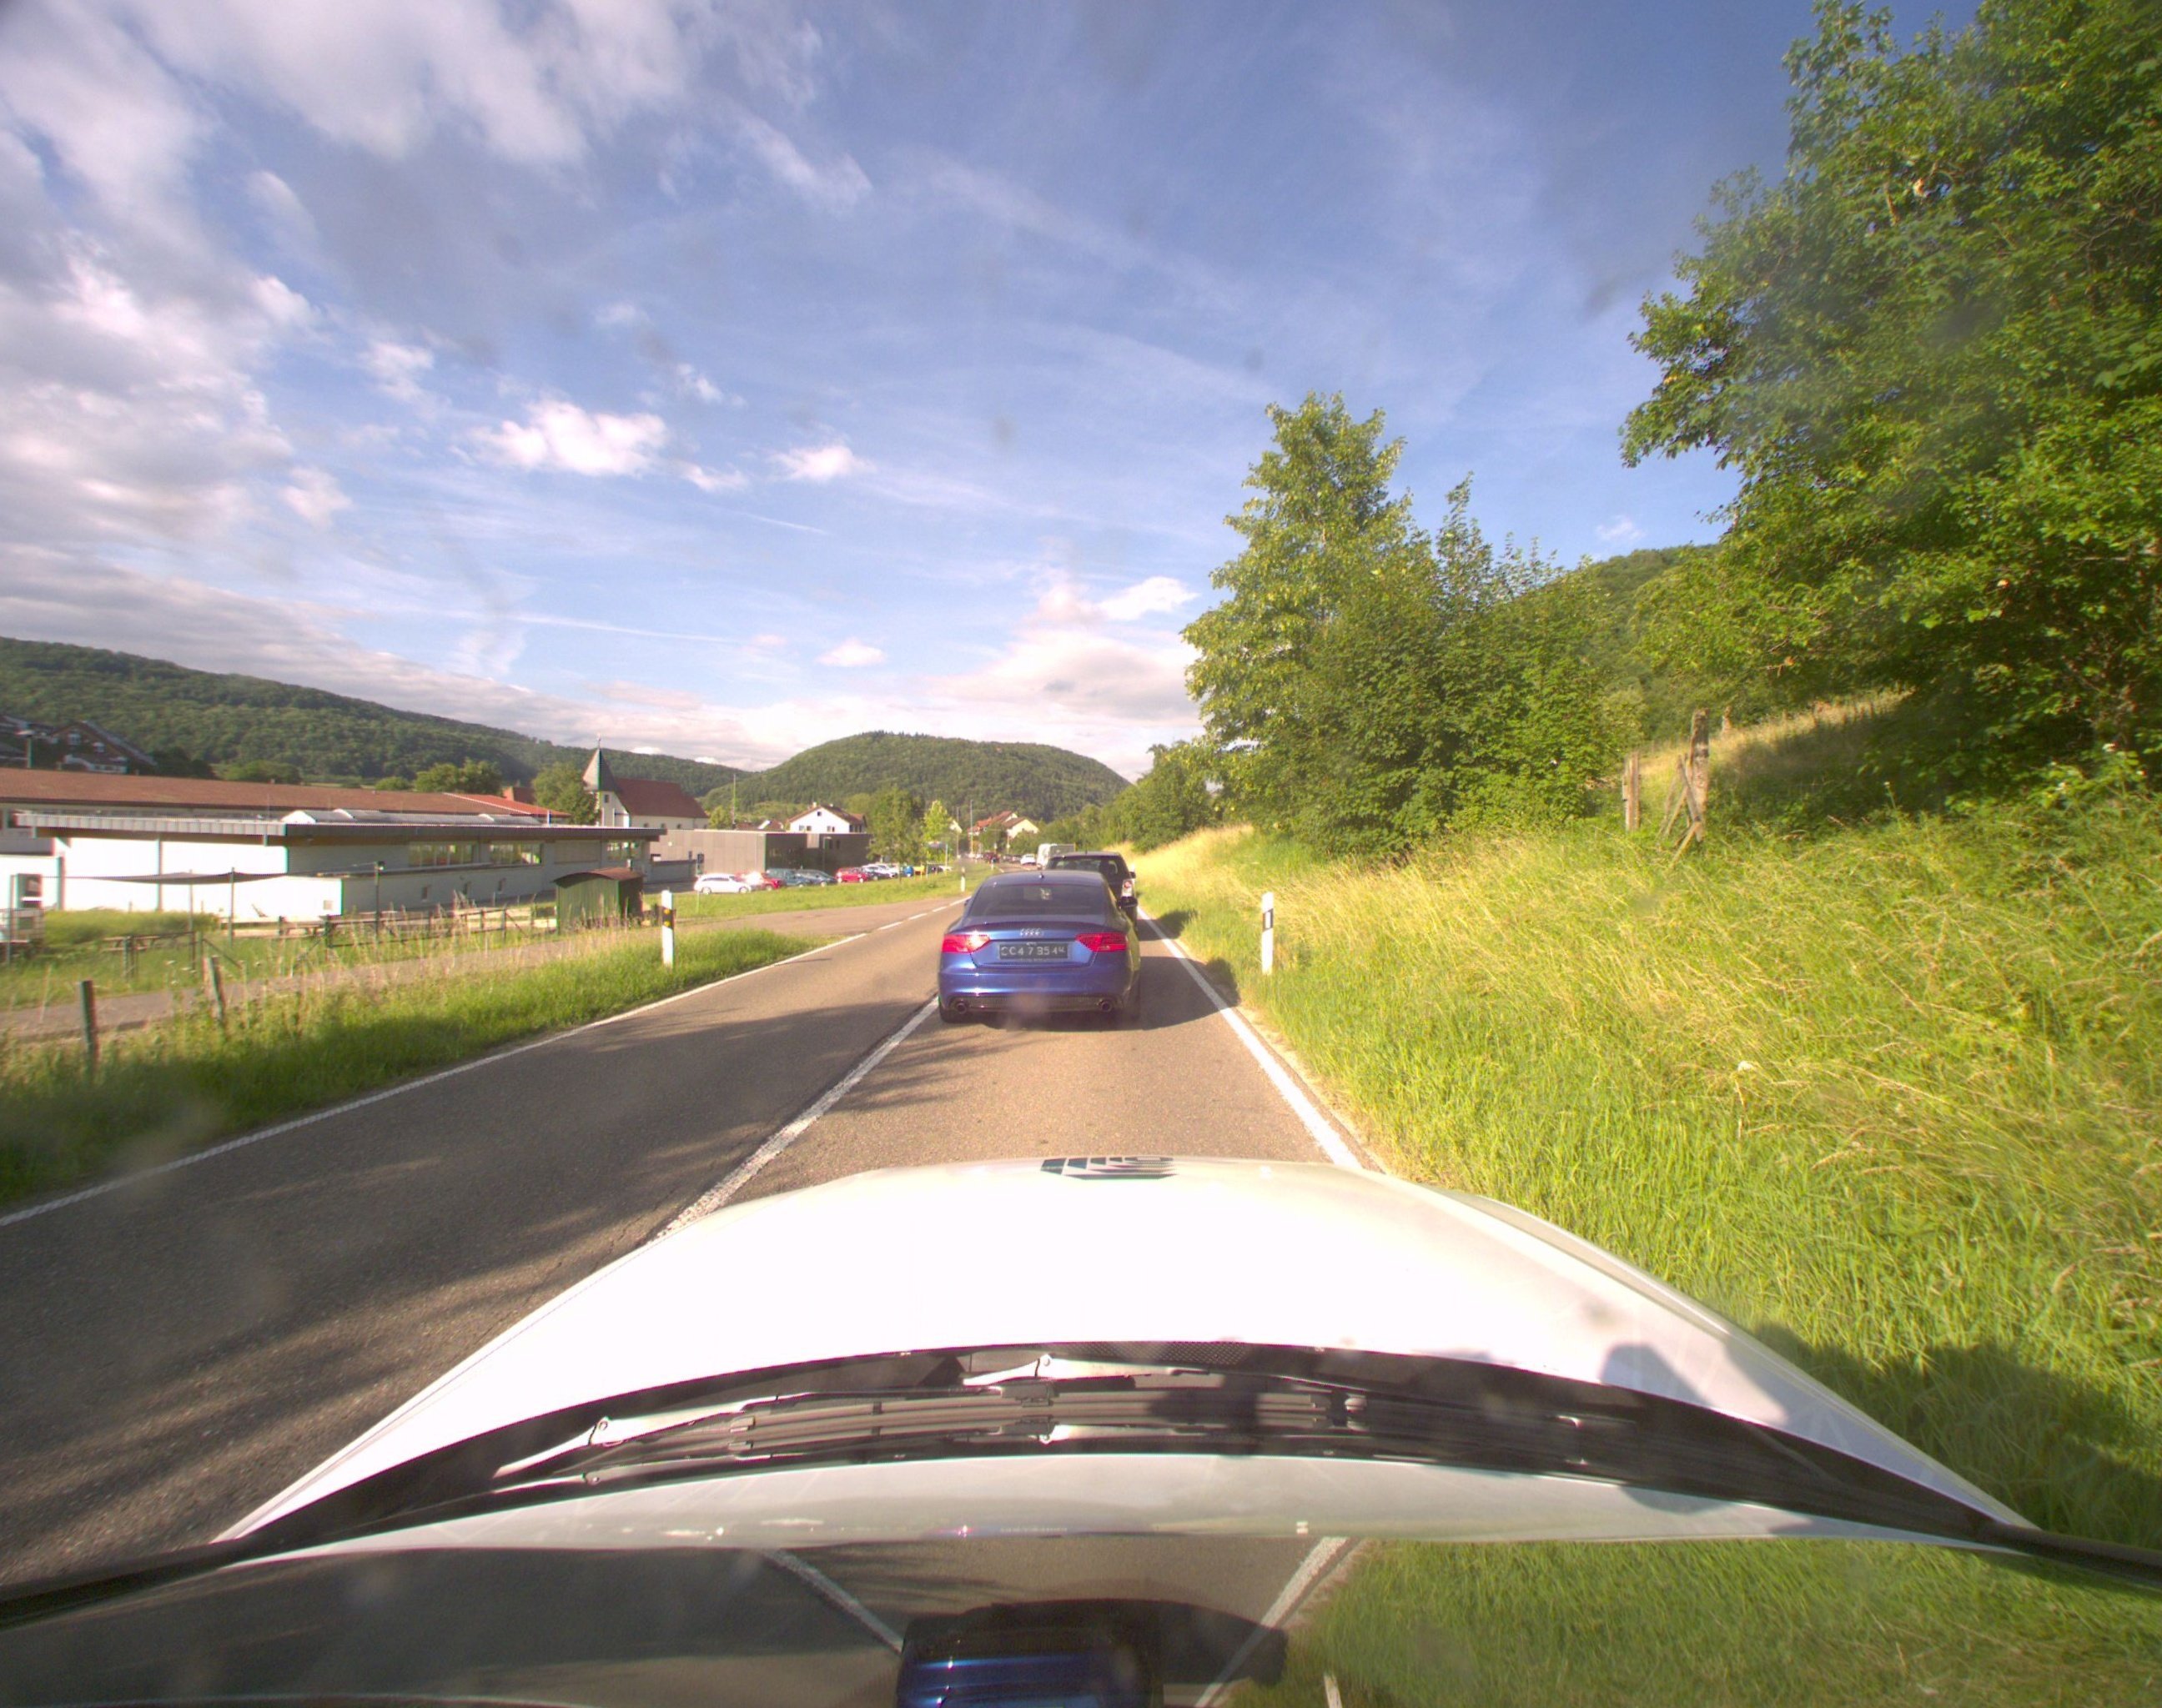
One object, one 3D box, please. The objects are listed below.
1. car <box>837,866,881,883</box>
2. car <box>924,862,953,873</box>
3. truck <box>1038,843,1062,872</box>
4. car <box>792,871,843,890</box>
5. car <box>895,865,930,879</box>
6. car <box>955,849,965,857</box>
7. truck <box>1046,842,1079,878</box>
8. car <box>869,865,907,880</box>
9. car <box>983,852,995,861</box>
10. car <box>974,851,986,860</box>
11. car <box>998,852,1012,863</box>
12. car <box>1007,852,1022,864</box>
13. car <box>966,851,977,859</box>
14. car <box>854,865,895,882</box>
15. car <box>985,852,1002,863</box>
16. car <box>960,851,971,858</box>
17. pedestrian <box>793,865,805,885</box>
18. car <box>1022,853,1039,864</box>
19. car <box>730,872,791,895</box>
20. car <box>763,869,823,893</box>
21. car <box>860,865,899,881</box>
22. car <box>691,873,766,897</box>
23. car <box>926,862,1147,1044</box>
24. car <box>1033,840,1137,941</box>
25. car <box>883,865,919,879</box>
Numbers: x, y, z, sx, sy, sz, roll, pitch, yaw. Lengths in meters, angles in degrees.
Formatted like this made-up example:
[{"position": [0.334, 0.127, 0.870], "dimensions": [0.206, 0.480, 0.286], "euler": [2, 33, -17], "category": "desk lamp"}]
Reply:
[{"position": [-23.096, 2.089, 84.780], "dimensions": [3.975, 1.711, 1.999], "euler": [0, -1, -1], "category": "car"}, {"position": [-20.815, 1.944, 119.267], "dimensions": [3.975, 1.579, 1.752], "euler": [0, -1, -1], "category": "car"}, {"position": [-2.985, 0.351, 77.976], "dimensions": [2.224, 2.570, 6.701], "euler": [0, -1, -2], "category": "truck"}, {"position": [-24.092, 2.420, 74.498], "dimensions": [3.975, 1.711, 1.999], "euler": [0, -1, -1], "category": "car"}, {"position": [-21.645, 2.261, 104.709], "dimensions": [3.975, 1.711, 1.999], "euler": [0, -1, -1], "category": "car"}, {"position": [-28.871, -0.203, 194.401], "dimensions": [1.851, 1.712, 3.975], "euler": [0, -1, -19], "category": "car"}, {"position": [-1.486, 0.442, 61.908], "dimensions": [2.225, 2.570, 6.095], "euler": [0, -1, -4], "category": "truck"}, {"position": [-22.804, 2.192, 96.270], "dimensions": [3.975, 1.711, 1.999], "euler": [0, -1, -1], "category": "car"}, {"position": [-17.657, 0.460, 156.691], "dimensions": [1.848, 1.712, 3.981], "euler": [0, -1, -14], "category": "car"}, {"position": [-21.142, 0.350, 170.410], "dimensions": [1.850, 1.712, 3.977], "euler": [0, -1, -17], "category": "car"}, {"position": [-12.712, 0.609, 136.452], "dimensions": [1.847, 1.712, 3.982], "euler": [0, -1, -13], "category": "car"}, {"position": [-10.218, 0.607, 124.579], "dimensions": [1.847, 1.712, 3.982], "euler": [0, -1, -13], "category": "car"}, {"position": [-23.939, 0.197, 178.279], "dimensions": [1.850, 1.712, 3.976], "euler": [0, -1, -18], "category": "car"}, {"position": [-22.652, 2.127, 89.321], "dimensions": [3.975, 1.711, 1.999], "euler": [0, -1, -1], "category": "car"}, {"position": [-14.009, 0.606, 130.716], "dimensions": [1.852, 1.712, 3.973], "euler": [0, -1, -20], "category": "car"}, {"position": [-26.498, 0.148, 186.753], "dimensions": [1.850, 1.712, 3.976], "euler": [0, -1, -18], "category": "car"}, {"position": [-29.682, 2.207, 85.761], "dimensions": [0.822, 2.014, 0.973], "euler": [0, -1, 1], "category": "pedestrian"}, {"position": [-6.806, 0.645, 108.835], "dimensions": [1.845, 1.482, 3.987], "euler": [0, -1, -9], "category": "car"}, {"position": [-25.206, 2.334, 64.204], "dimensions": [3.975, 1.711, 1.999], "euler": [0, -1, -1], "category": "car"}, {"position": [-24.707, 2.316, 70.007], "dimensions": [4.393, 2.008, 1.999], "euler": [0, -1, -1], "category": "car"}, {"position": [-23.011, 2.164, 92.988], "dimensions": [3.975, 1.711, 1.999], "euler": [0, -1, -1], "category": "car"}, {"position": [-26.430, 2.317, 61.223], "dimensions": [4.717, 1.711, 1.999], "euler": [0, -1, -1], "category": "car"}, {"position": [-0.264, 0.806, 8.393], "dimensions": [1.747, 1.430, 3.849], "euler": [0, -1, 3], "category": "car"}, {"position": [0.161, 0.629, 15.617], "dimensions": [1.747, 1.681, 3.849], "euler": [0, -1, 3], "category": "car"}, {"position": [-22.560, 2.243, 102.055], "dimensions": [3.975, 1.711, 1.999], "euler": [0, -1, -1], "category": "car"}]
